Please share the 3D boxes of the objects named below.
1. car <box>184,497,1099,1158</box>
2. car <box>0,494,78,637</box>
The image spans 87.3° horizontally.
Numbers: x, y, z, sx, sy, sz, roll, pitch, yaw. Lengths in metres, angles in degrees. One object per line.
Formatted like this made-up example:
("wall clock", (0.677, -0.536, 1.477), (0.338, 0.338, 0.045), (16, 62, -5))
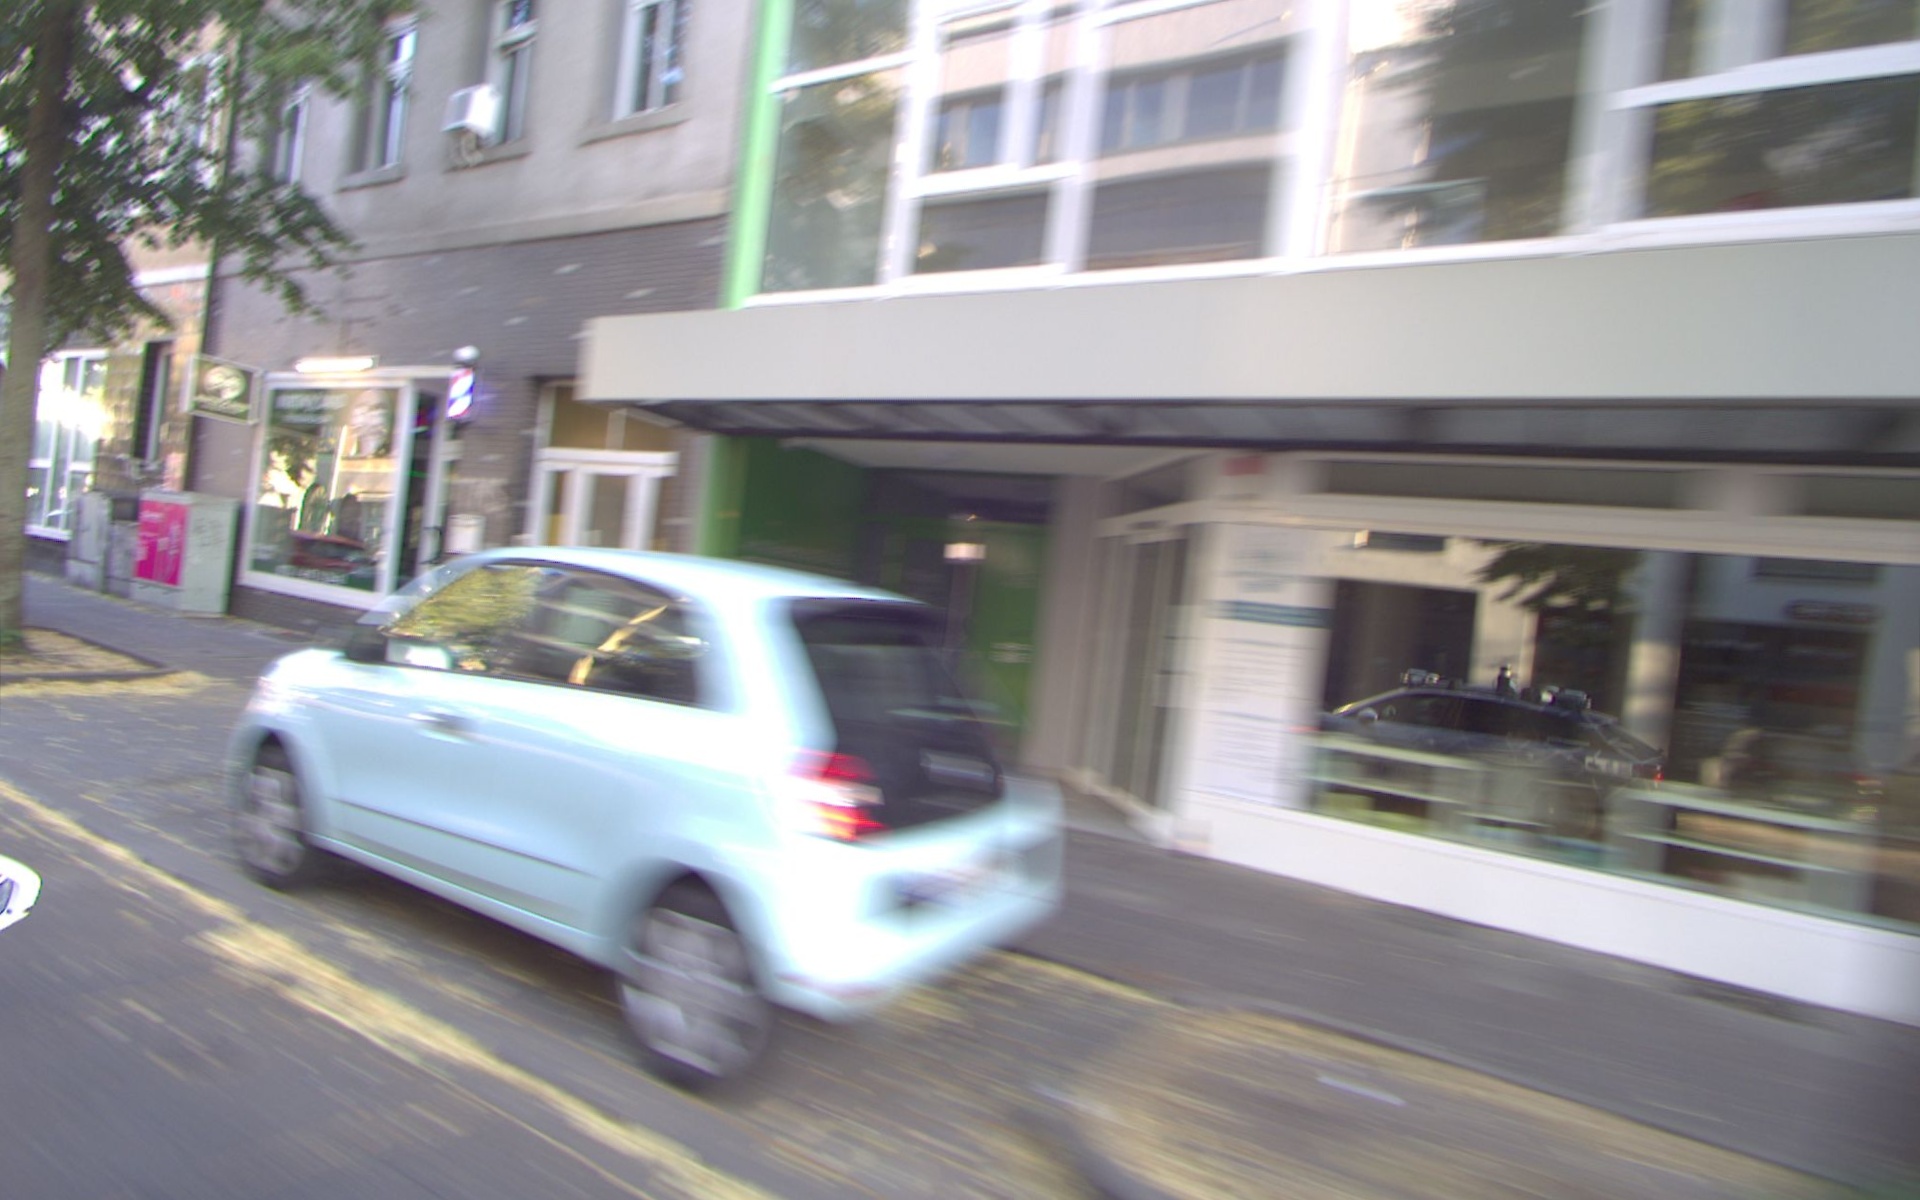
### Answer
("car", (-1.432, 0.549, 4.249), (3.493, 1.563, 1.692), (7, 2, 31))
("car", (-11.703, -0.574, 10.796), (4.348, 1.409, 1.954), (7, 2, 29))
